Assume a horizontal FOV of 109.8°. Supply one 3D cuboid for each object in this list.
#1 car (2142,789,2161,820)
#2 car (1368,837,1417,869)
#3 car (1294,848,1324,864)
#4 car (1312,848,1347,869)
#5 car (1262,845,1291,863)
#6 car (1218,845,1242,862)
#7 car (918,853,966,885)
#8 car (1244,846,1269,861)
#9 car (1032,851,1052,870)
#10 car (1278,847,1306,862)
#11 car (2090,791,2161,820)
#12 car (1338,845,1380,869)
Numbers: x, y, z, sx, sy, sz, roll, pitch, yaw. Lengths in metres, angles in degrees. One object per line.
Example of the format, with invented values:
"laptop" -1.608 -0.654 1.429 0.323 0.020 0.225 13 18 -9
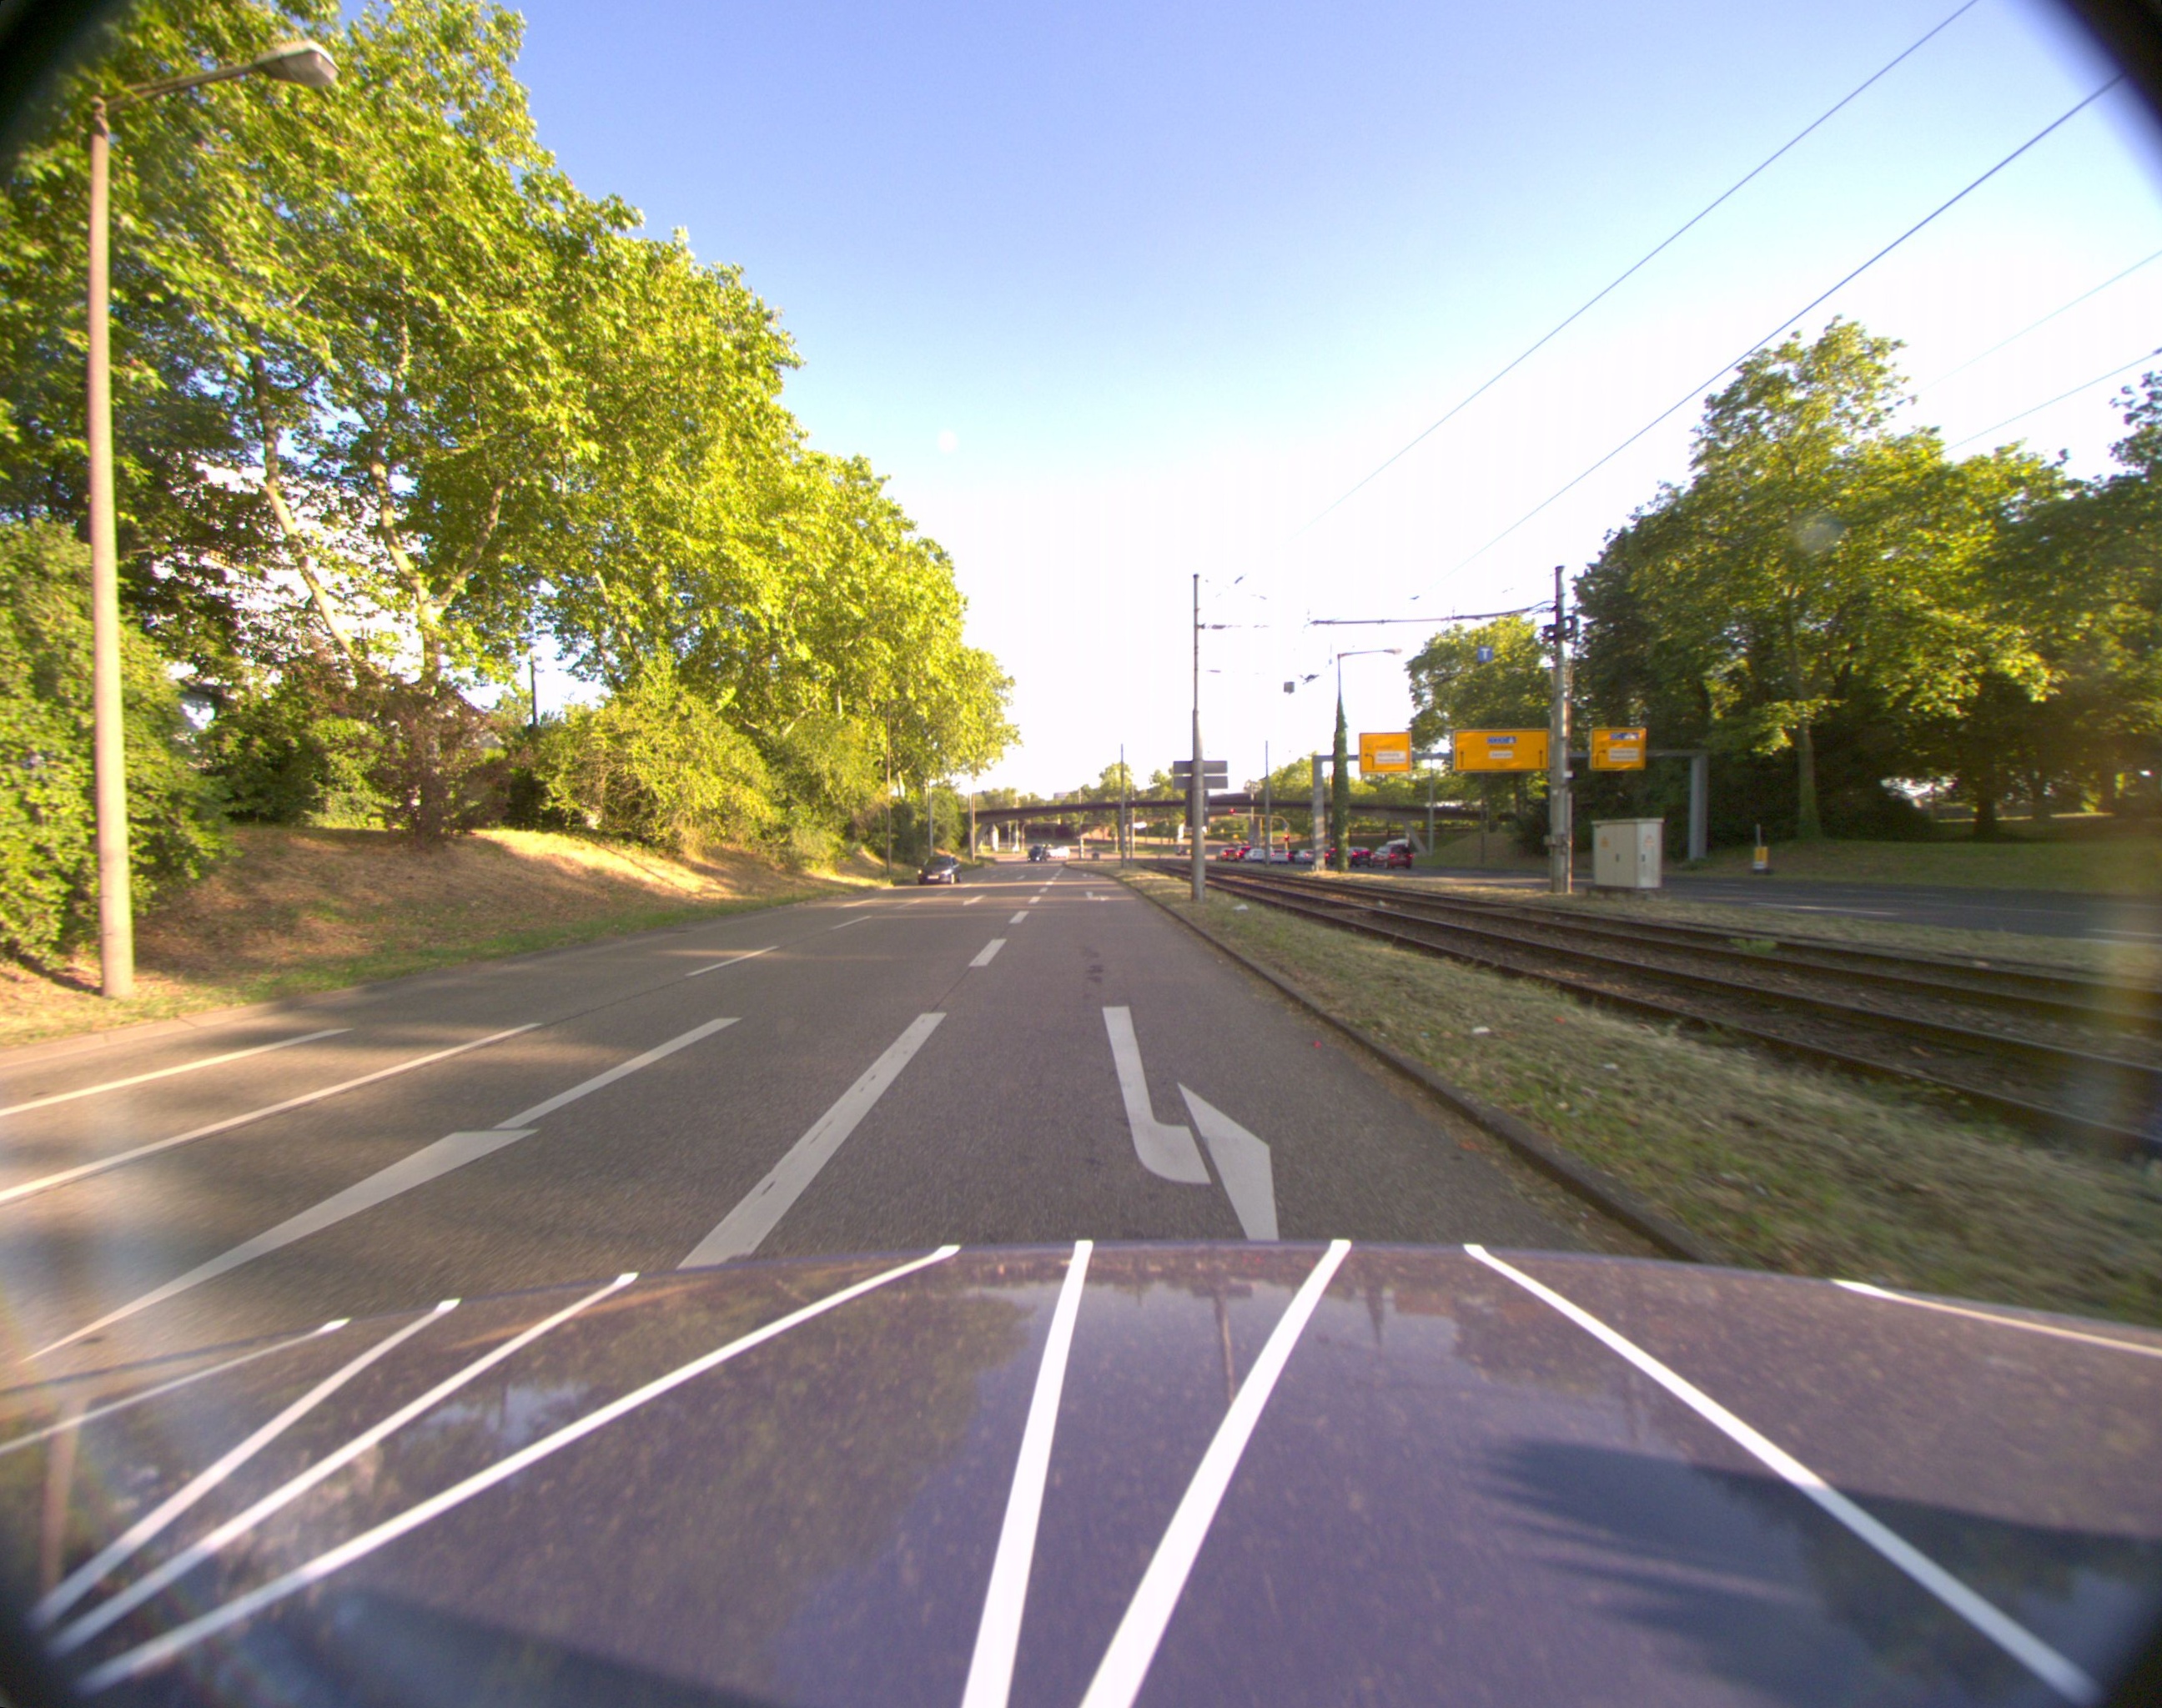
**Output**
"car" 55.834 -2.536 37.512 3.995 1.543 1.808 -2 1 6
"car" 22.213 -0.098 54.331 1.797 2.093 3.999 -2 1 0
"car" 22.569 0.212 75.266 1.797 1.473 3.999 -2 1 0
"car" 22.033 0.387 67.456 1.797 1.740 3.999 -2 1 0
"car" 18.734 -0.032 72.915 1.667 1.556 4.189 -2 1 0
"car" 14.867 -0.107 76.047 1.667 1.556 3.999 -2 1 0
"car" -6.999 0.730 38.593 1.629 1.434 3.984 -2 1 0
"car" 18.425 -0.056 79.883 1.746 1.424 4.411 1 1 2
"car" -4.783 0.757 93.777 1.998 2.150 4.190 -2 1 1
"car" 22.632 0.031 81.559 1.797 1.375 4.475 -2 1 0
"car" 60.452 -2.771 42.880 3.992 1.543 1.809 -2 1 15
"car" 22.139 0.188 60.761 1.797 1.740 4.240 -2 1 0
